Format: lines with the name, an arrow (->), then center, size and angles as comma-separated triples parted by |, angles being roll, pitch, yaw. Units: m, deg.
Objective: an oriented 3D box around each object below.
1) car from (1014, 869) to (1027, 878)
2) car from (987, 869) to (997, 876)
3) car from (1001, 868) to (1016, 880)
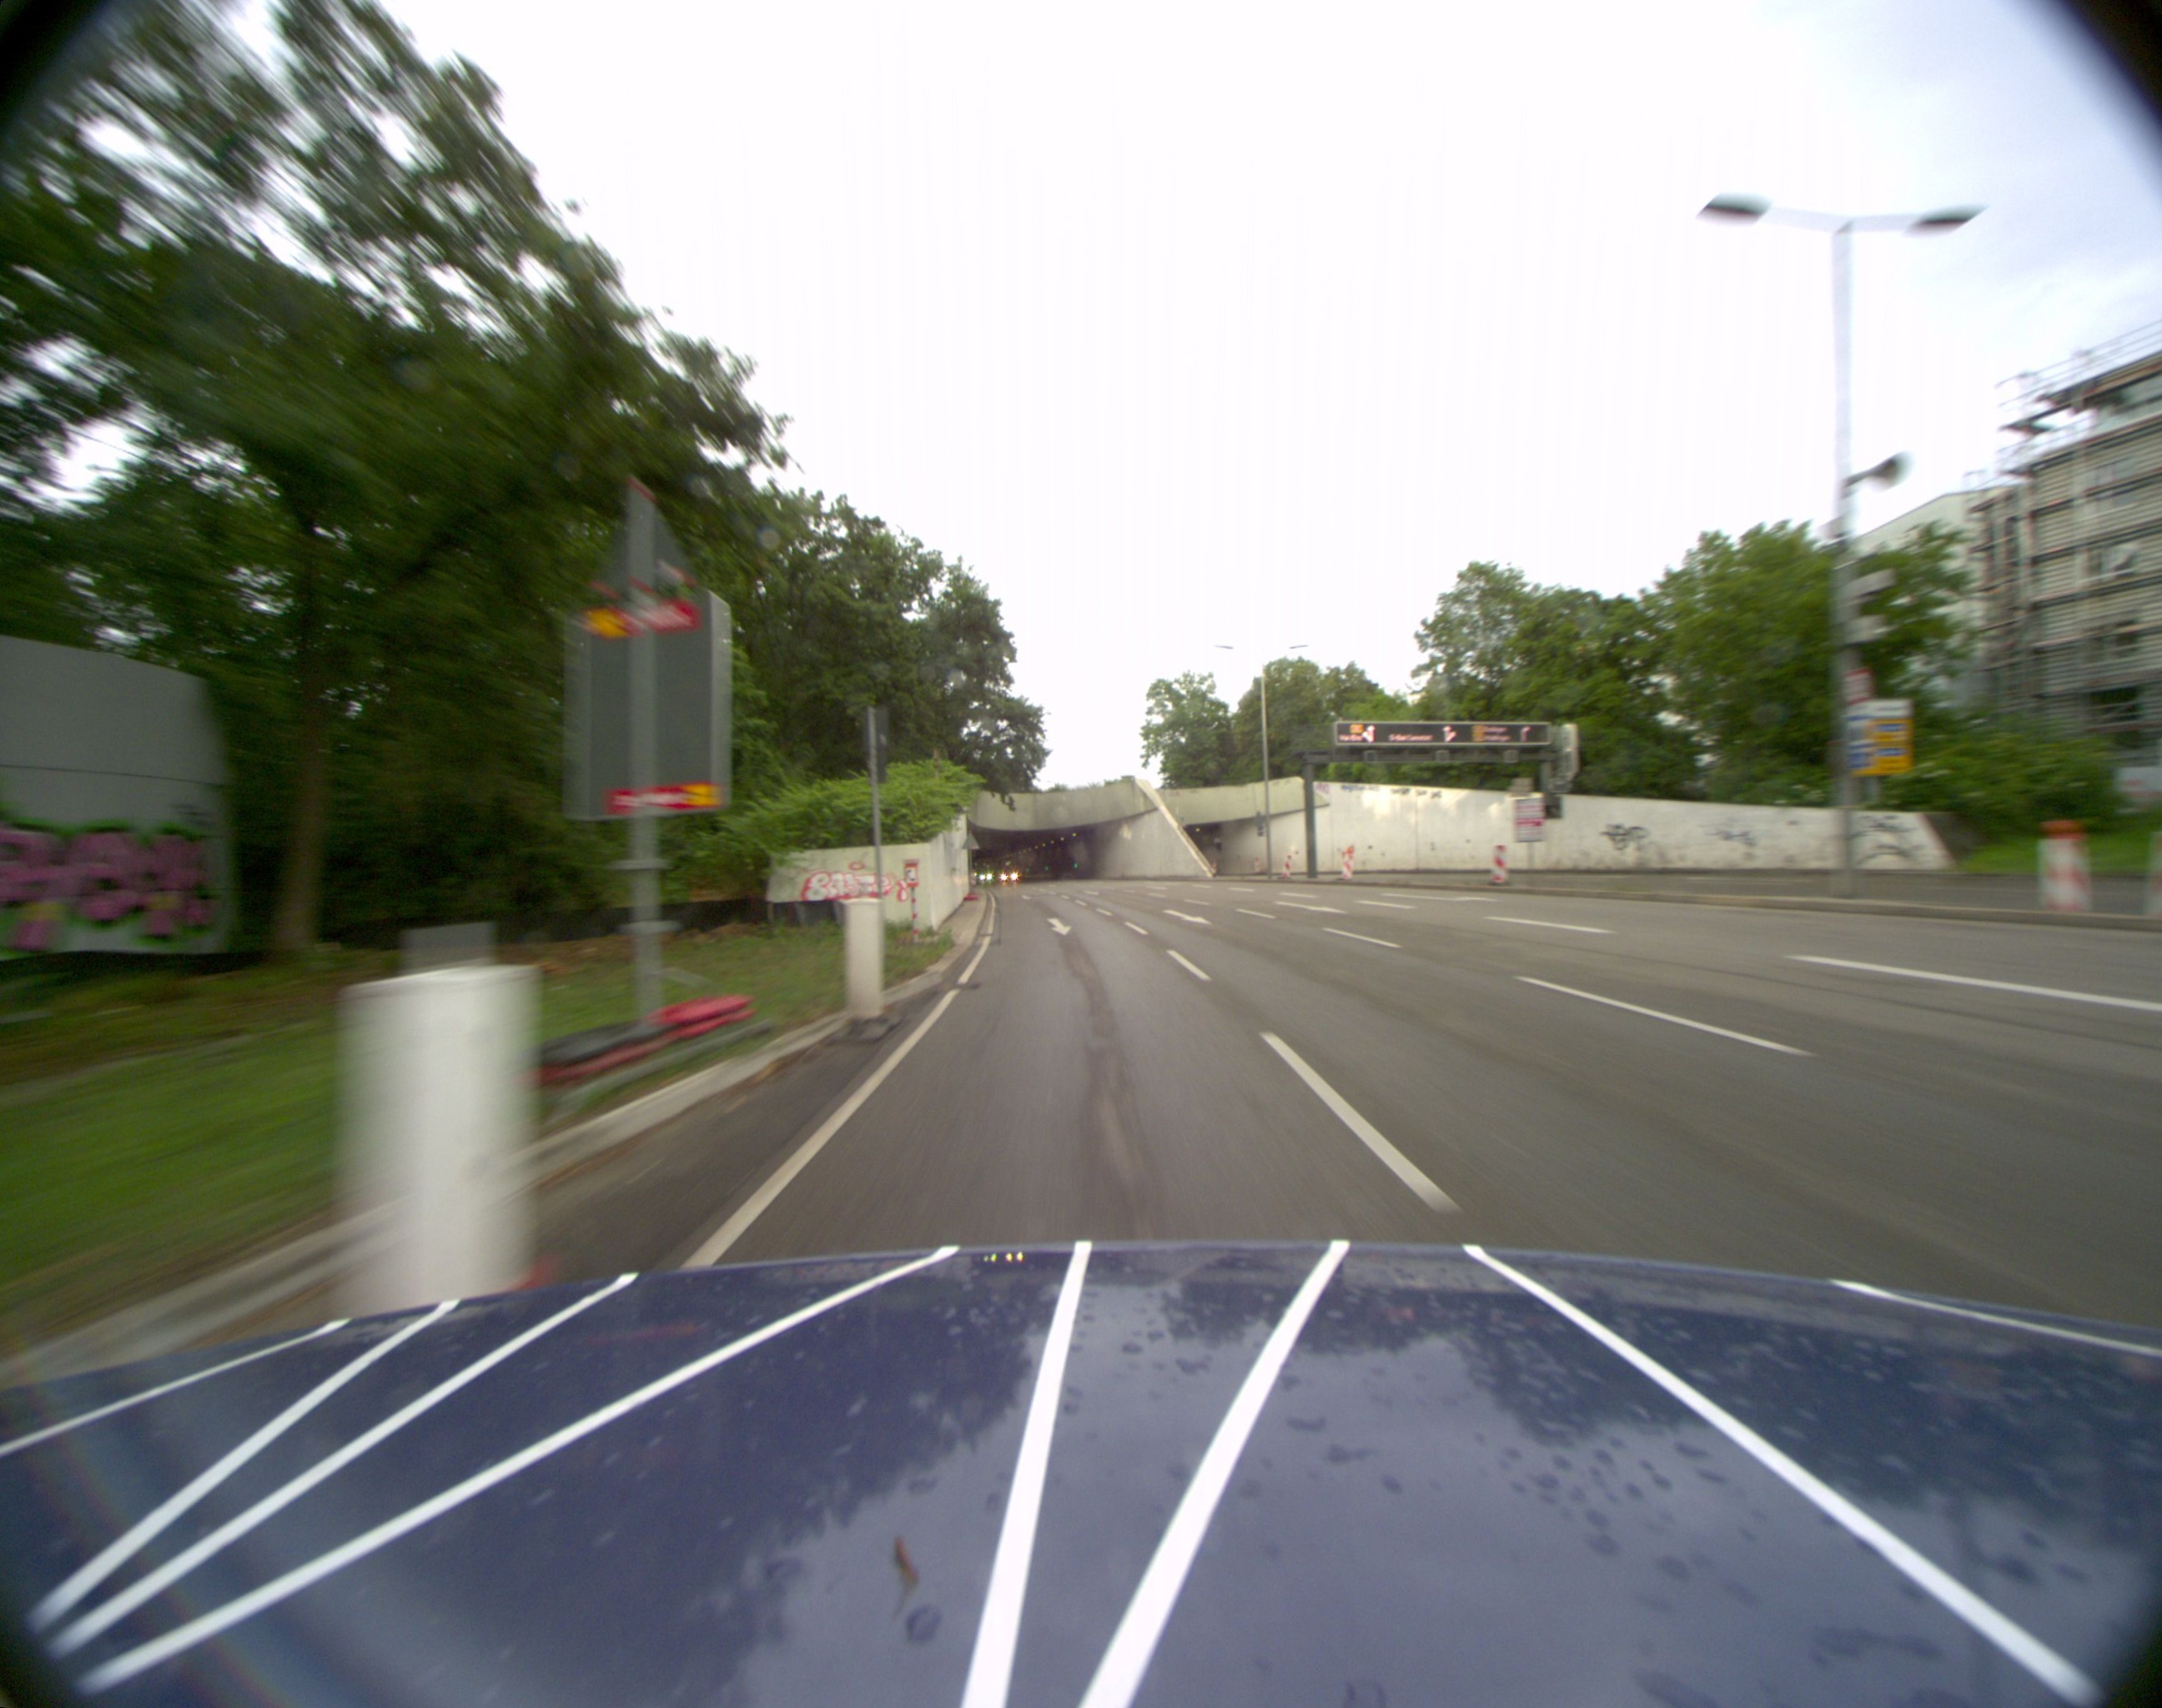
car -> -9.689, 3.147, 121.397 | 1.699, 1.300, 3.821 | -2, 1, -9
car -> -17.621, 3.692, 150.357 | 1.961, 1.300, 3.822 | -2, 1, -9
car -> -9.678, 2.706, 101.771 | 1.699, 1.393, 3.822 | -2, 1, -9
